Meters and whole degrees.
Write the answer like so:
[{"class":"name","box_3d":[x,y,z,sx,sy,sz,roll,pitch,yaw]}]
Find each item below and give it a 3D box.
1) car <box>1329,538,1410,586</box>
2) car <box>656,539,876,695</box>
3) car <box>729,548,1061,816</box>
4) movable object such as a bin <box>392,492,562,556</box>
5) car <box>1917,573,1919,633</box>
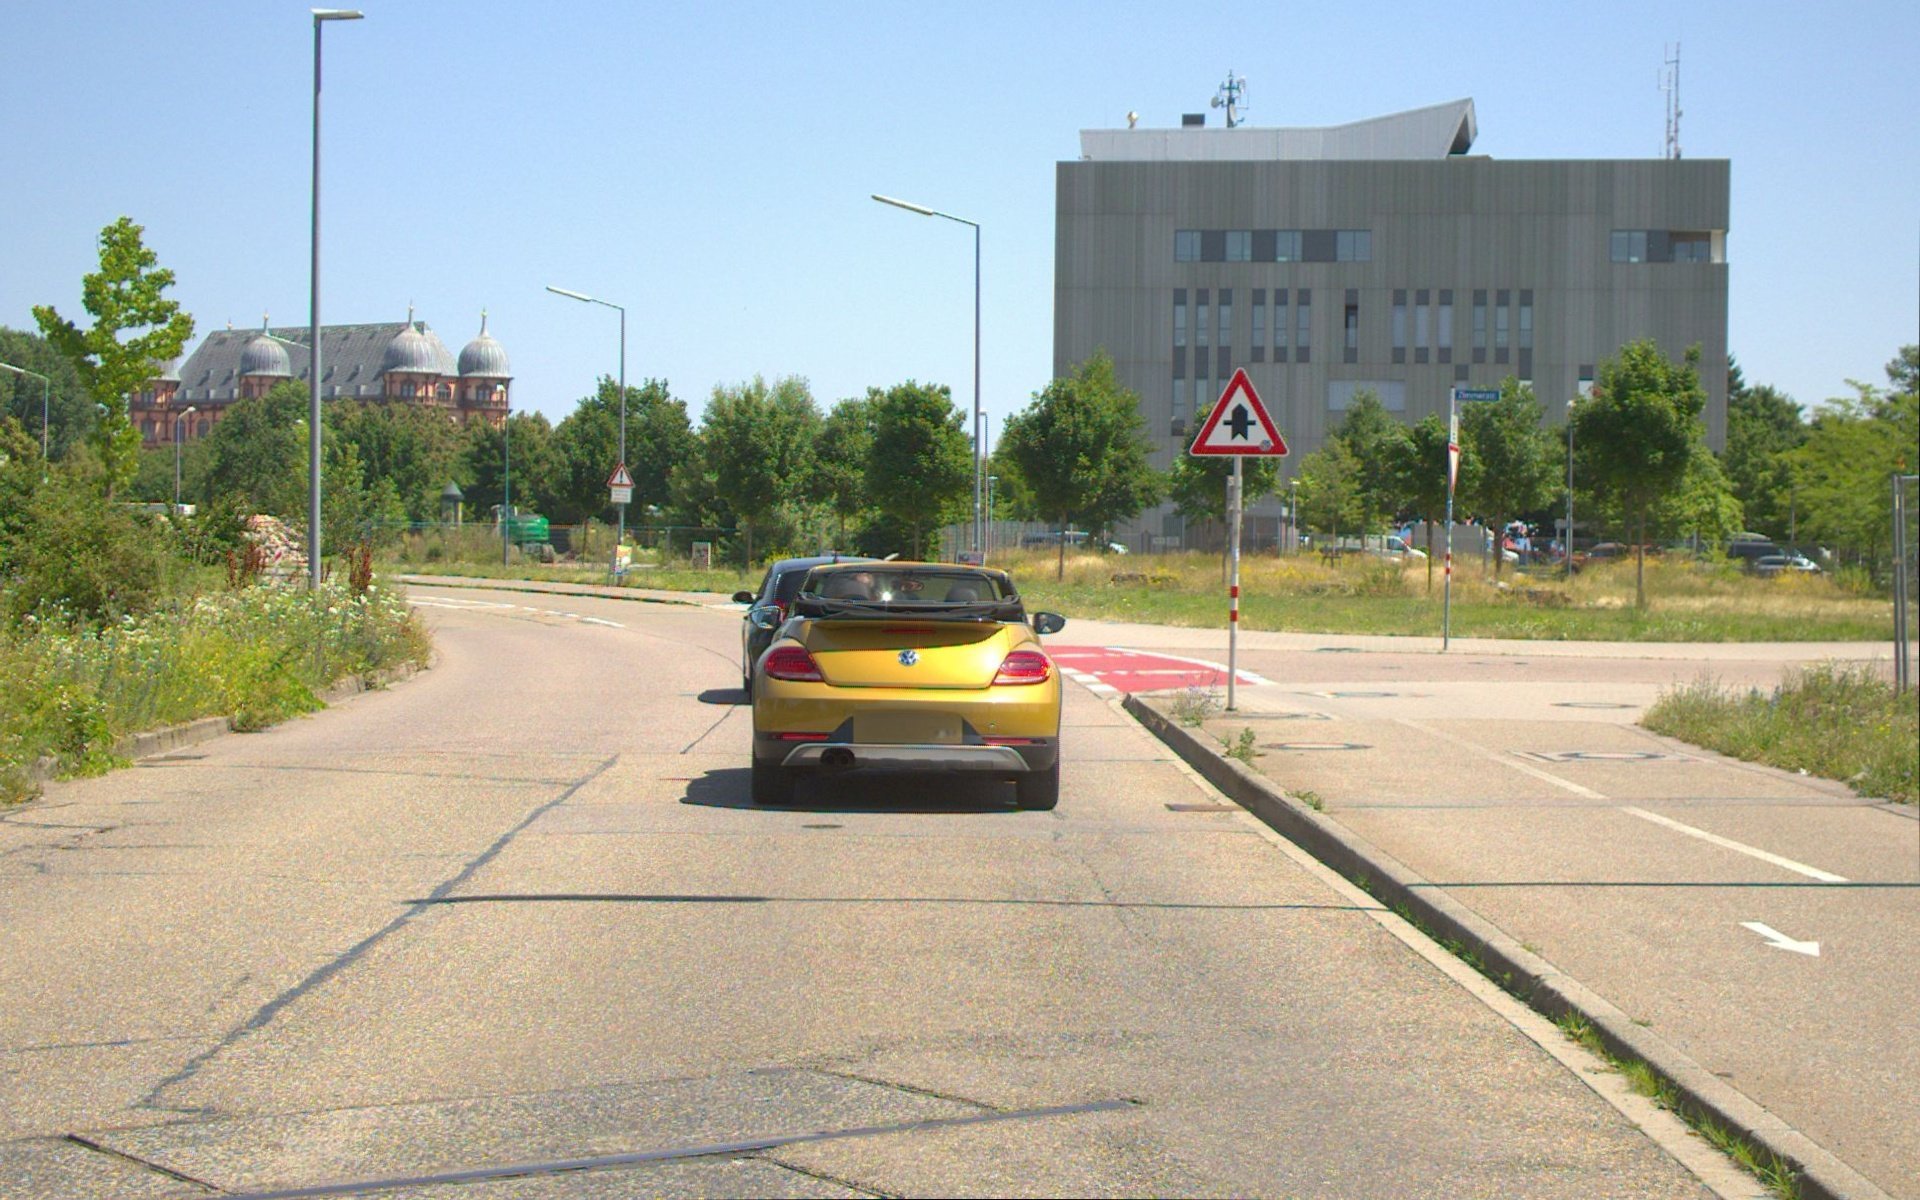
[{"class":"car","box_3d":[20.405,-1.900,171.201,3.844,2.286,1.741,1,0,10]},{"class":"car","box_3d":[-1.880,0.140,34.394,1.727,1.438,4.000,1,1,3]},{"class":"car","box_3d":[-0.356,0.422,20.801,1.790,1.432,3.814,1,1,0]},{"class":"movable object such as a bin","box_3d":[-26.170,-4.091,185.729,4.939,3.249,10.468,1,1,-34]},{"class":"car","box_3d":[25.134,0.127,81.996,4.113,1.439,1.962,1,0,4]}]
